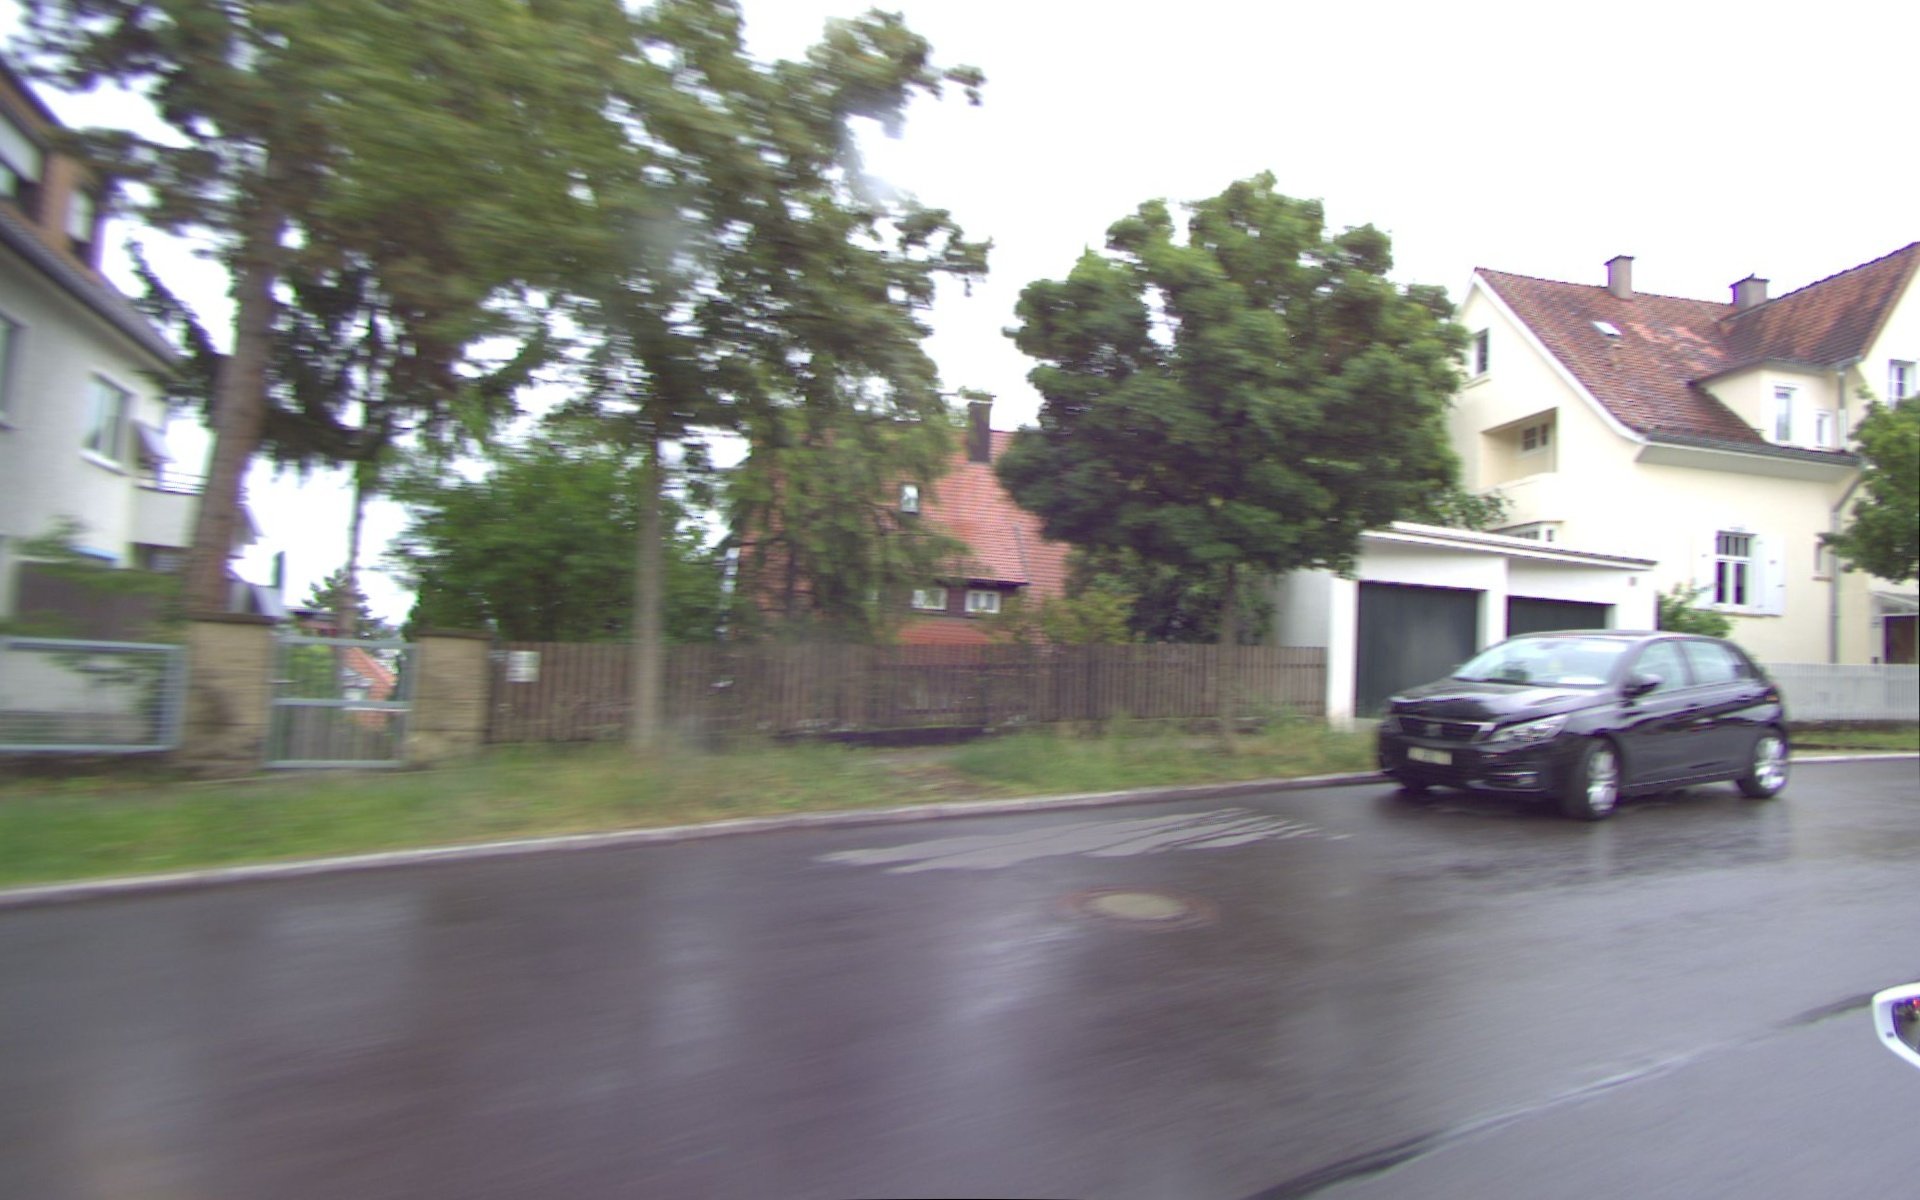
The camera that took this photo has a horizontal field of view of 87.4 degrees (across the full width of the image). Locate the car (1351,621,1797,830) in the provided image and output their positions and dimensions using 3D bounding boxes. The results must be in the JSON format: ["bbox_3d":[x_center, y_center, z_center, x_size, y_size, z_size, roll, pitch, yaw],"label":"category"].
[{"bbox_3d":[5.444,0.977,8.841,3.847,1.485,1.663,2,-3,-29],"label":"car"}]
